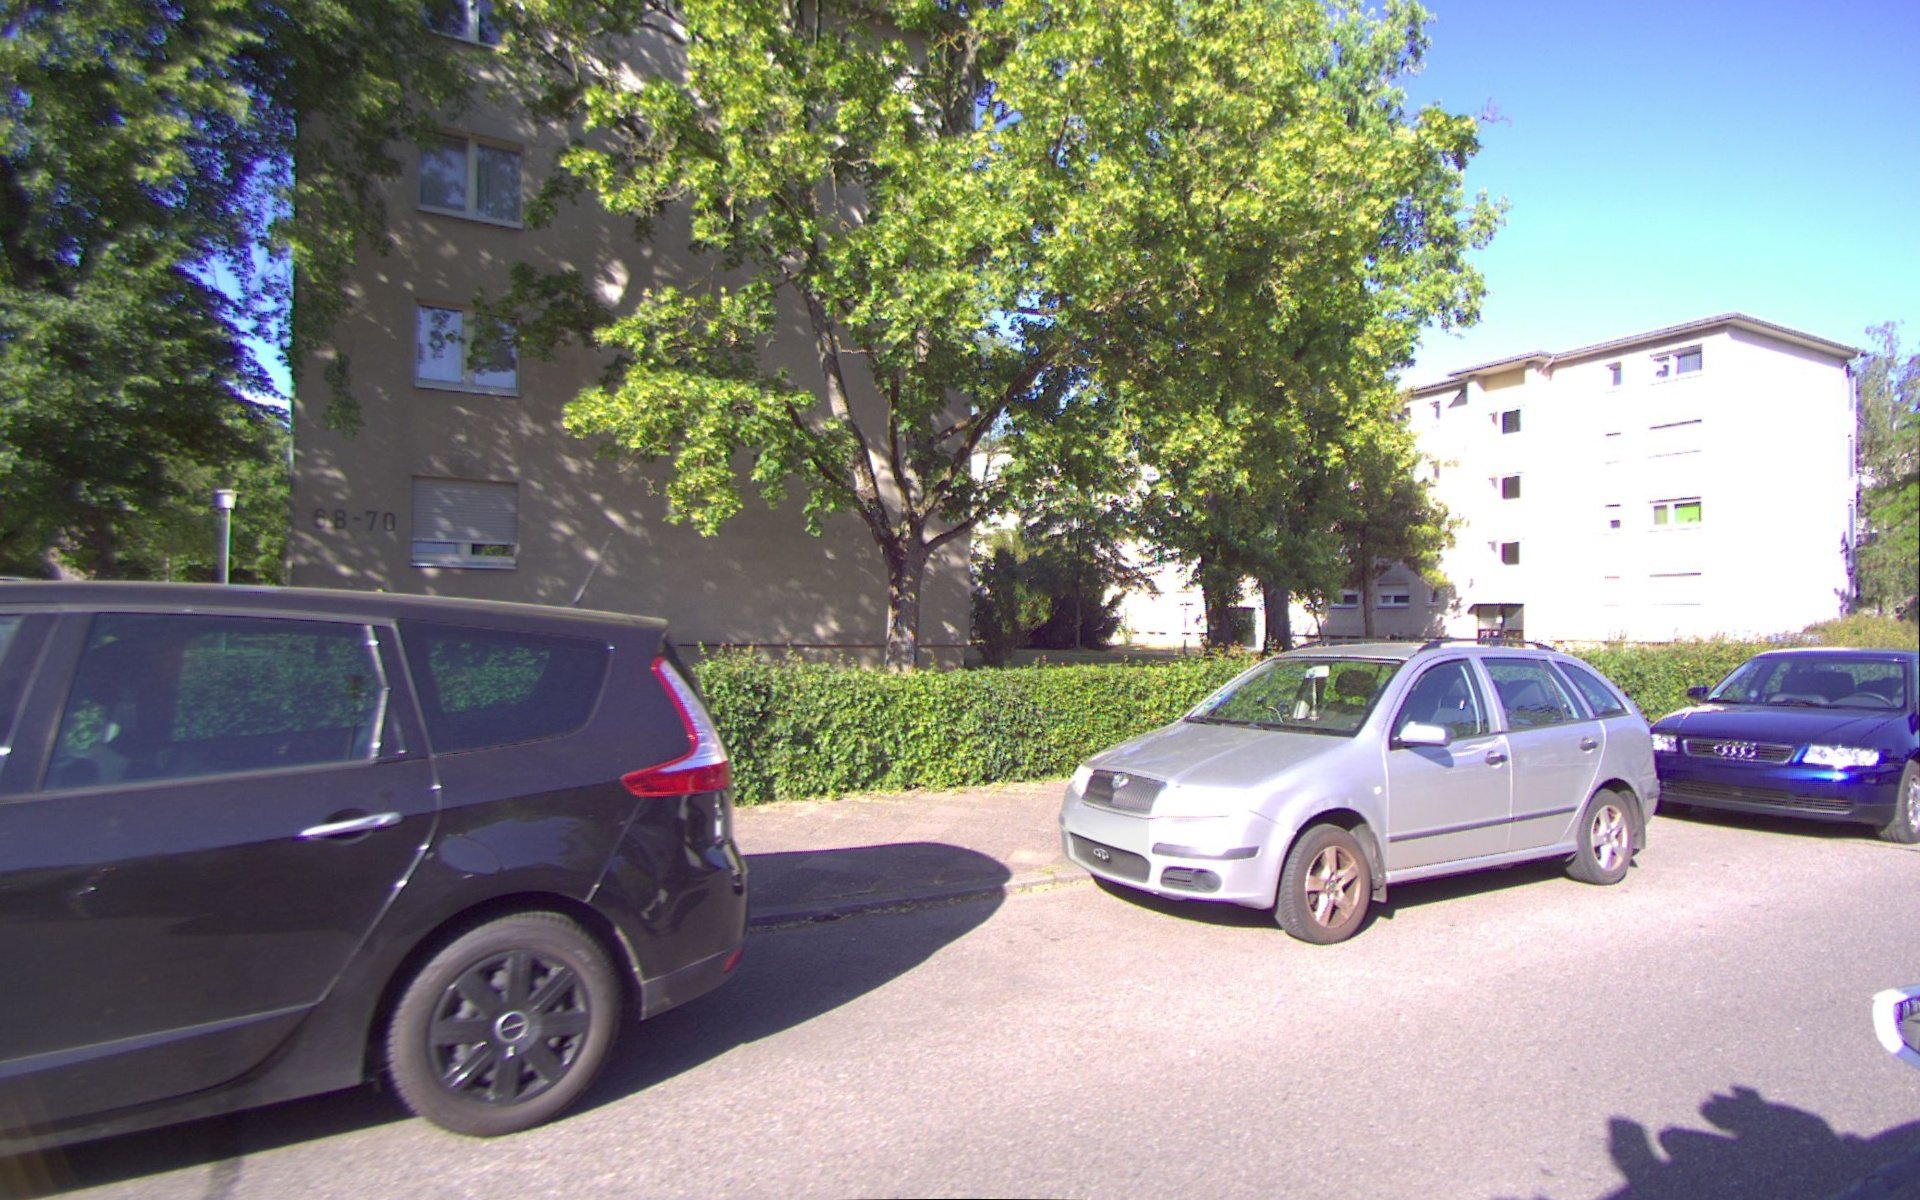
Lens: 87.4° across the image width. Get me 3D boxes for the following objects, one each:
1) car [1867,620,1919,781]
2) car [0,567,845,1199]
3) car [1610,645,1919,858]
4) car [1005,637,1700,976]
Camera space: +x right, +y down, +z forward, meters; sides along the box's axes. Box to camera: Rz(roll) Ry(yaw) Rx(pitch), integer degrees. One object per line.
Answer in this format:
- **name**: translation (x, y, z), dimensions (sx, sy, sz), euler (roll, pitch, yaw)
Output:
- **car**: translation (12.229, 1.088, 11.255), dimensions (4.336, 1.690, 1.747), euler (1, -2, -29)
- **car**: translation (-2.726, 0.764, 3.135), dimensions (4.380, 1.626, 1.798), euler (1, -2, -30)
- **car**: translation (7.465, 1.099, 8.560), dimensions (4.124, 1.403, 1.629), euler (1, -2, -32)
- **car**: translation (2.466, 0.960, 6.116), dimensions (4.100, 1.455, 1.747), euler (1, -2, -29)
